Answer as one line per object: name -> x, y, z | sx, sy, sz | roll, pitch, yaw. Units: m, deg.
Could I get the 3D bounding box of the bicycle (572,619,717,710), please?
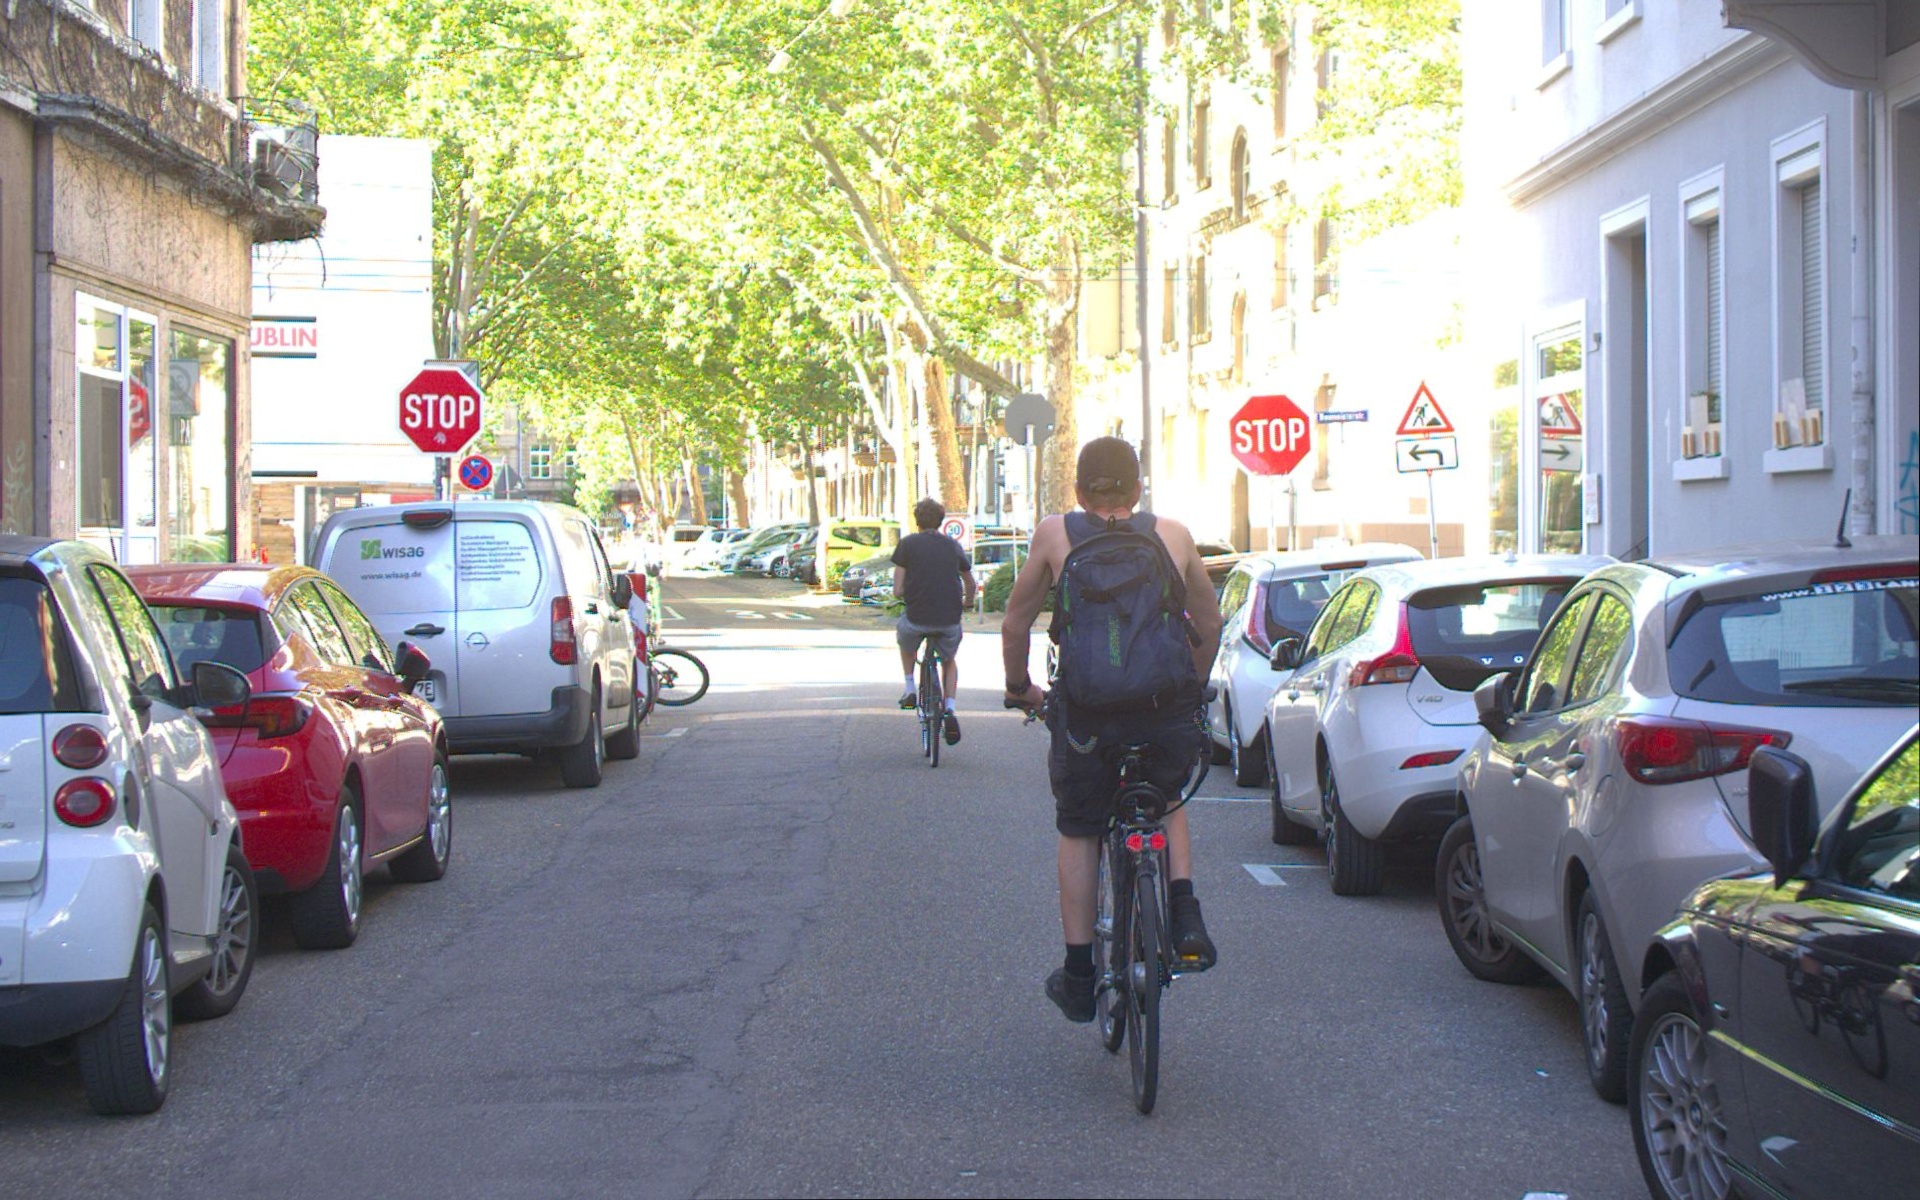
bicycle -> -2.938, 0.595, 31.976 | 1.308, 0.815, 0.371 | 0, 1, -10

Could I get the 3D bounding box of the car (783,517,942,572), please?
car -> -2.848, -1.629, 100.314 | 4.460, 1.565, 1.729 | 0, 1, -8

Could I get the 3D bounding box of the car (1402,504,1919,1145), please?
car -> 2.460, 0.534, 10.727 | 1.679, 1.592, 4.190 | 1, 1, 1

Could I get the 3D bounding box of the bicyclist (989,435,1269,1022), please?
bicyclist -> 0.440, 0.327, 9.249 | 0.676, 1.508, 0.669 | 1, 1, -1

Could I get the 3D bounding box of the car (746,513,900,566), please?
car -> -4.137, -1.839, 103.376 | 4.460, 1.565, 1.729 | 0, 1, -8

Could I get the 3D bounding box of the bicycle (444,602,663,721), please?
bicycle -> -3.354, 0.502, 28.402 | 1.764, 0.958, 0.405 | 0, 1, -2

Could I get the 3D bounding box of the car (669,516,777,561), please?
car -> -10.061, -2.601, 145.920 | 4.460, 1.891, 1.729 | 0, 1, -8

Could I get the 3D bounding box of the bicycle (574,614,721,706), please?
bicycle -> -2.875, 0.546, 31.603 | 1.308, 0.815, 0.355 | 0, 1, -10

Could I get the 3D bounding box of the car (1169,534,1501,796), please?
car -> 2.444, 0.367, 23.237 | 1.636, 1.581, 3.789 | 1, 1, -2

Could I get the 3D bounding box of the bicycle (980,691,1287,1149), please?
bicycle -> 0.429, 0.807, 9.333 | 0.689, 1.013, 1.907 | 1, 1, -1

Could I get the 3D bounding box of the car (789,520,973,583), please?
car -> -2.006, -1.229, 86.974 | 4.460, 1.565, 1.729 | 0, 1, -8

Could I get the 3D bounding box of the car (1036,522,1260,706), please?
car -> 1.784, 0.088, 33.890 | 1.760, 1.656, 4.198 | 1, 1, -2

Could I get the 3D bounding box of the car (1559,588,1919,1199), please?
car -> 2.354, 0.734, 5.743 | 1.767, 1.390, 4.495 | 1, 1, -2

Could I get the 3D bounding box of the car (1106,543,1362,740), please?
car -> 2.237, 0.295, 28.996 | 1.645, 1.498, 3.955 | 1, 1, -2

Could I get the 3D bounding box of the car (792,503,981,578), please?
car -> -1.830, -1.473, 84.958 | 4.460, 1.830, 1.729 | 0, 1, -9

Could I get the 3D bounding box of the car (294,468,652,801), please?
car -> -3.115, 0.163, 22.812 | 1.679, 1.903, 4.519 | -3, 1, -1

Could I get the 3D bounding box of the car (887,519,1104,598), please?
car -> 0.748, -0.917, 74.144 | 4.460, 1.665, 1.729 | 0, 1, -8

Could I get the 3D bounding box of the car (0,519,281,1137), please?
car -> -3.026, 0.557, 10.048 | 1.679, 1.544, 2.960 | -1, 1, -5

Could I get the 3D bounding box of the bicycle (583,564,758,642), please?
bicycle -> -4.105, 0.040, 48.658 | 2.422, 1.089, 0.896 | 0, 0, -7

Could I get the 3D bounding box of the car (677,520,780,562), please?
car -> -10.432, -2.659, 154.784 | 4.460, 1.891, 1.729 | 0, 1, -8

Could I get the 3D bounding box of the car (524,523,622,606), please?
car -> -7.581, -0.723, 67.071 | 1.643, 1.489, 4.001 | -3, 2, -9

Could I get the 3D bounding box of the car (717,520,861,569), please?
car -> -5.516, -1.798, 110.507 | 4.460, 1.565, 1.729 | 0, 1, -8

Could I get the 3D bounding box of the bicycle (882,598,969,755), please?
bicycle -> -0.245, 0.506, 23.519 | 0.551, 1.013, 1.628 | 1, 1, -2

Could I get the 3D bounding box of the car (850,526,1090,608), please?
car -> 0.177, -0.658, 67.104 | 4.460, 1.565, 1.729 | 0, 1, -8

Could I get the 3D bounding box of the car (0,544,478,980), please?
car -> -3.071, 0.543, 14.161 | 1.679, 1.468, 4.204 | -2, 1, -2

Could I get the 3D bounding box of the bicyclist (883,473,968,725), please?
bicyclist -> -0.237, -0.008, 23.309 | 0.542, 1.682, 0.653 | 1, 0, -2

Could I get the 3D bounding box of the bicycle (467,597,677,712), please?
bicycle -> -3.367, 0.465, 29.817 | 1.764, 0.958, 0.481 | 0, 1, -13

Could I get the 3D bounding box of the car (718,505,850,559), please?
car -> -6.154, -2.384, 120.136 | 4.460, 1.891, 1.729 | 0, 1, -8

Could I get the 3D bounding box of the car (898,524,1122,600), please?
car -> 1.034, -0.806, 72.077 | 4.460, 1.565, 1.729 | 0, 1, -8

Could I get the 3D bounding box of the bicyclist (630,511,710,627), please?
bicyclist -> -4.112, -0.436, 48.650 | 1.096, 1.634, 0.896 | 0, 0, -7

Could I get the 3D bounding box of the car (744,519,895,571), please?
car -> -4.336, -1.711, 105.850 | 4.460, 1.565, 1.729 | 0, 1, -8

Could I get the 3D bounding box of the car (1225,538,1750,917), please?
car -> 2.324, 0.485, 16.185 | 1.679, 1.505, 4.190 | 1, 1, -2

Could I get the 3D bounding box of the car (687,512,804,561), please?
car -> -8.471, -2.517, 135.543 | 4.460, 1.891, 1.729 | 0, 1, -8
